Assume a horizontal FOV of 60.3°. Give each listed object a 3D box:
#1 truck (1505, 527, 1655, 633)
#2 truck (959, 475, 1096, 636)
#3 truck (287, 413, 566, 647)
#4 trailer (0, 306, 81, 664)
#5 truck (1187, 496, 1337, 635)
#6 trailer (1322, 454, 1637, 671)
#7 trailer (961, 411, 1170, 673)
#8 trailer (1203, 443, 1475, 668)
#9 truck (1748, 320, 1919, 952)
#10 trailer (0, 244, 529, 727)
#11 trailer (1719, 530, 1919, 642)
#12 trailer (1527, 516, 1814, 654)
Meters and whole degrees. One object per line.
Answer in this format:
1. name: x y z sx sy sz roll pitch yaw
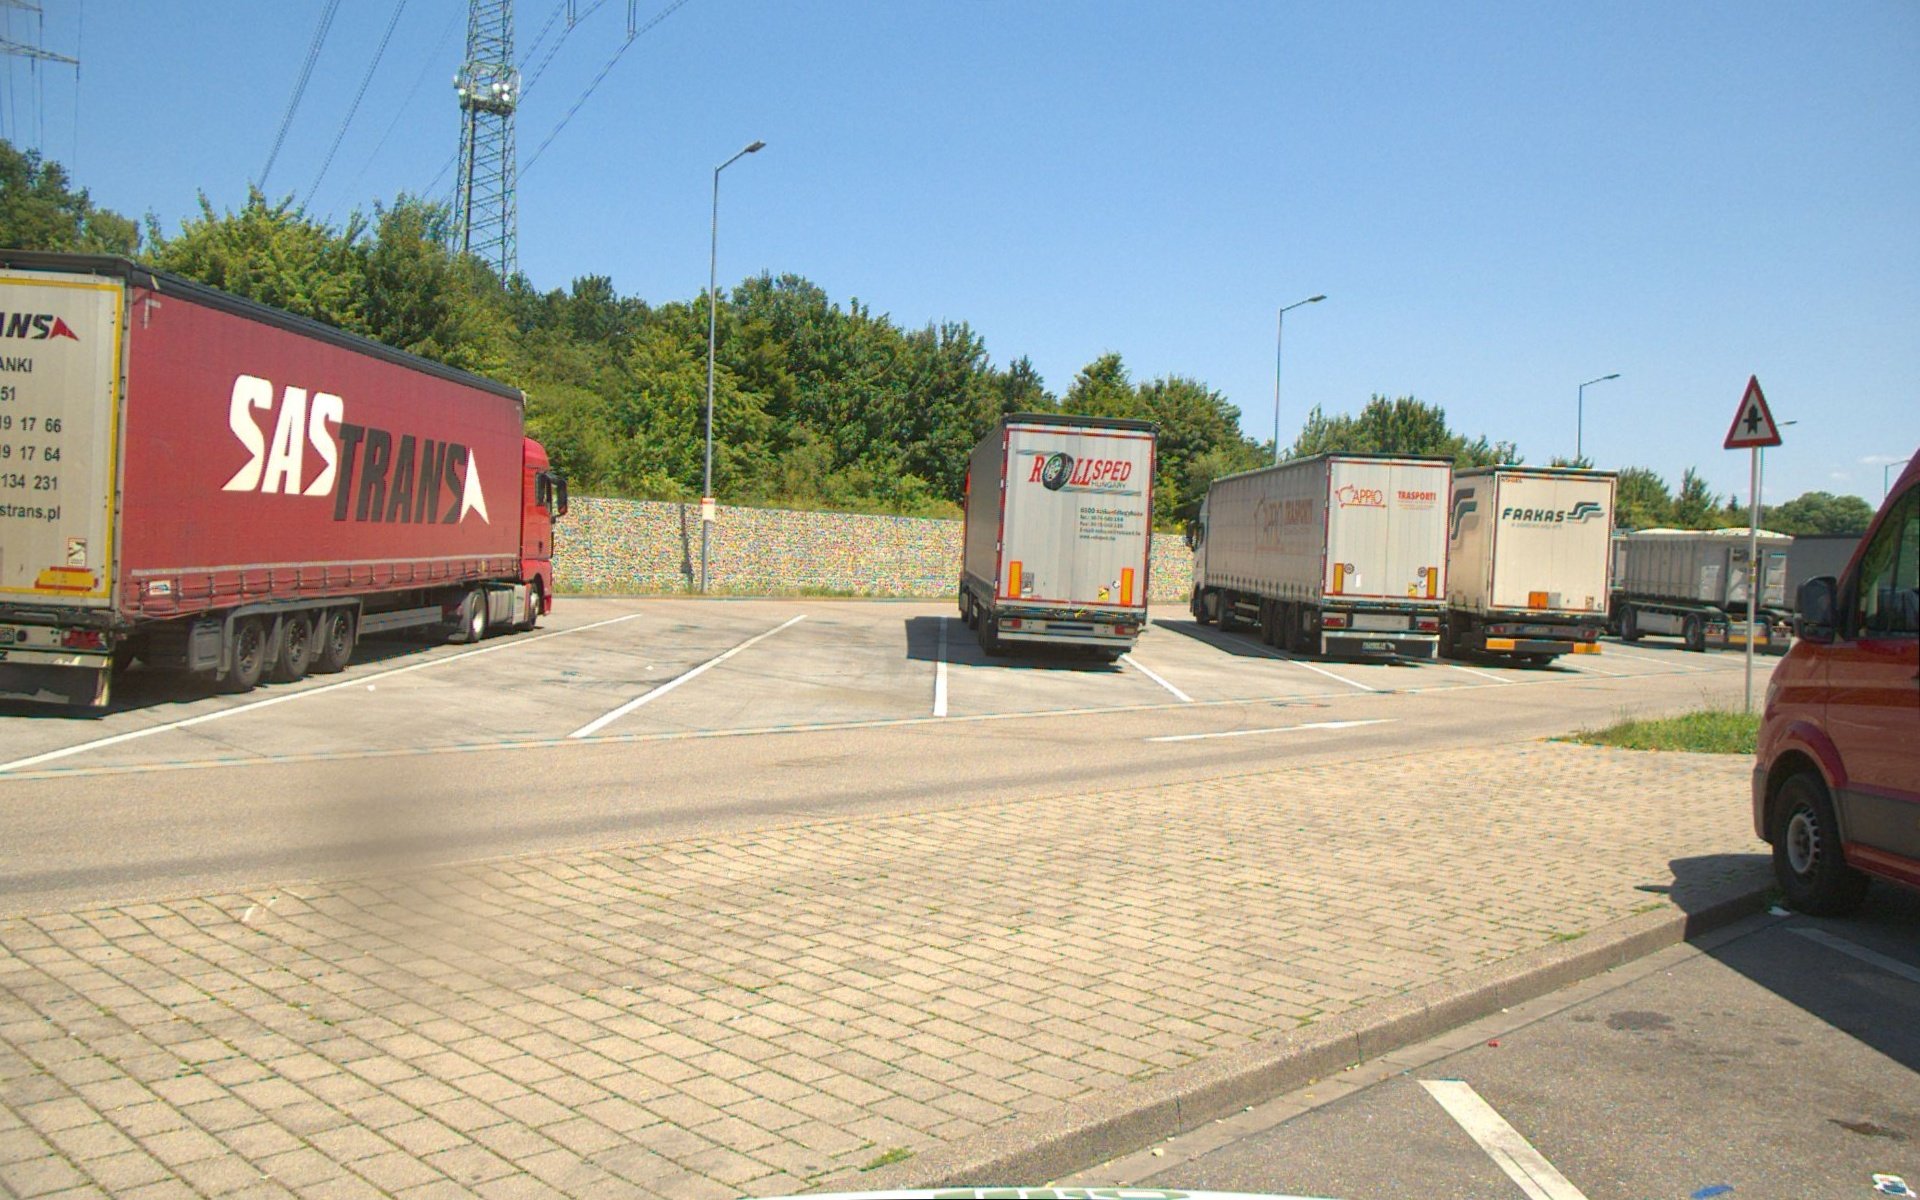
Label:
1. truck: 21.739 -0.784 58.332 2.808 3.421 5.974 2 2 -1
2. truck: 1.476 -1.086 39.338 2.808 3.421 5.974 2 2 -1
3. truck: -8.799 -1.159 28.059 2.755 3.421 5.974 2 2 -1
4. trailer: -12.487 -1.257 15.787 2.651 4.173 10.389 2 2 -1
5. truck: 8.128 -0.977 45.256 2.808 3.421 5.974 2 2 -1
6. trailer: 11.770 -0.982 39.558 2.800 4.180 13.762 2 2 -1
7. trailer: 1.677 -1.170 33.140 2.800 4.040 13.761 2 2 -2
8. trailer: 8.250 -1.094 38.493 2.800 4.180 13.762 2 2 -1
9. truck: 4.993 0.163 5.509 1.969 2.697 6.457 1 0 3
10. trailer: -8.690 -1.267 21.243 2.764 4.141 13.763 2 2 -1
11. trailer: 34.790 -0.694 65.435 2.800 3.972 13.762 2 2 -1
12. trailer: 21.837 -0.670 52.236 2.800 3.662 13.762 2 2 -1
